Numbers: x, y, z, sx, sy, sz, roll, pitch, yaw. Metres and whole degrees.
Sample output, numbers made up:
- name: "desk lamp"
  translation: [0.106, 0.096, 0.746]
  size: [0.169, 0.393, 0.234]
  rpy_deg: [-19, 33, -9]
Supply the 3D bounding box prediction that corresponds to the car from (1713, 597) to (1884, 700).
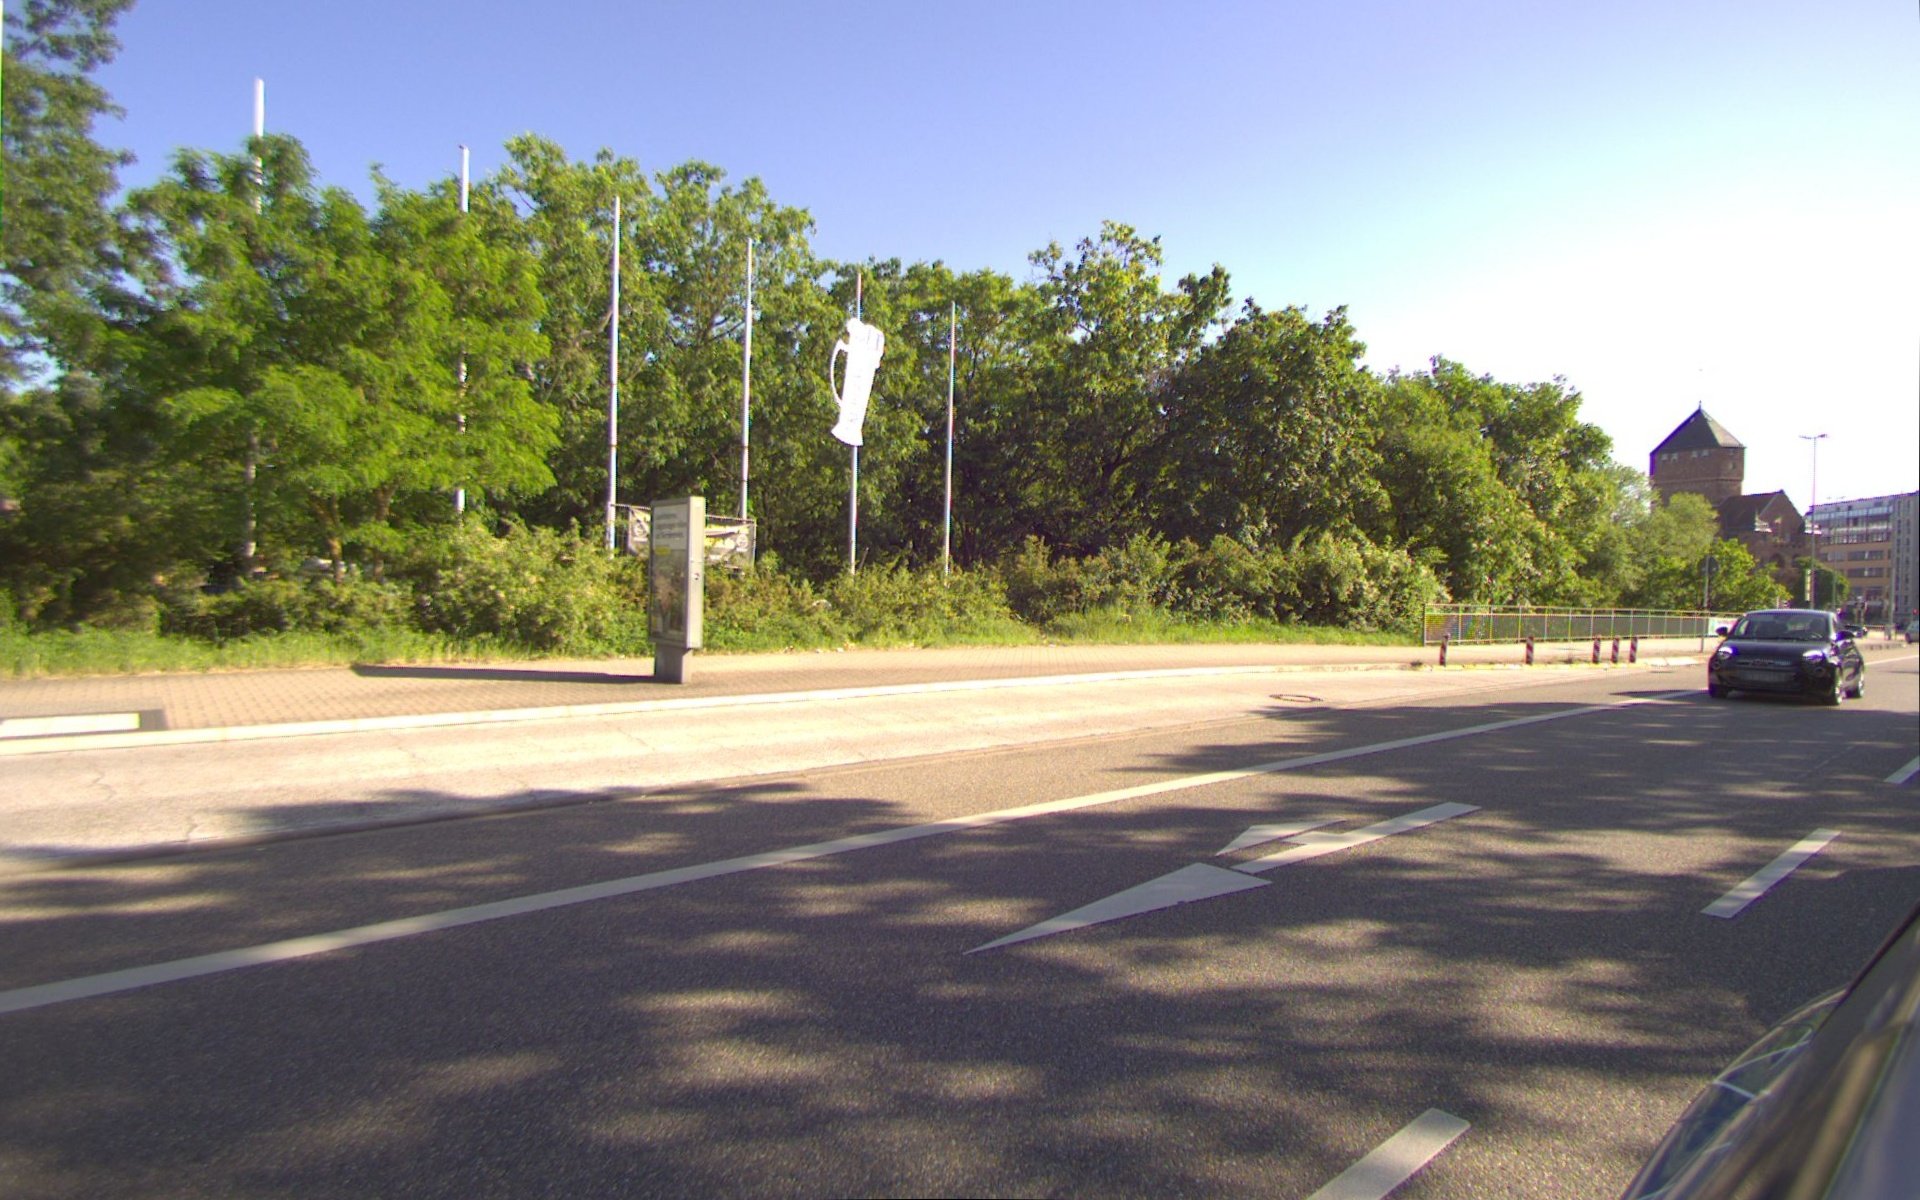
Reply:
- name: "car"
  translation: [14.282, 0.743, 17.183]
  size: [3.500, 1.522, 1.677]
  rpy_deg: [0, 1, -41]
